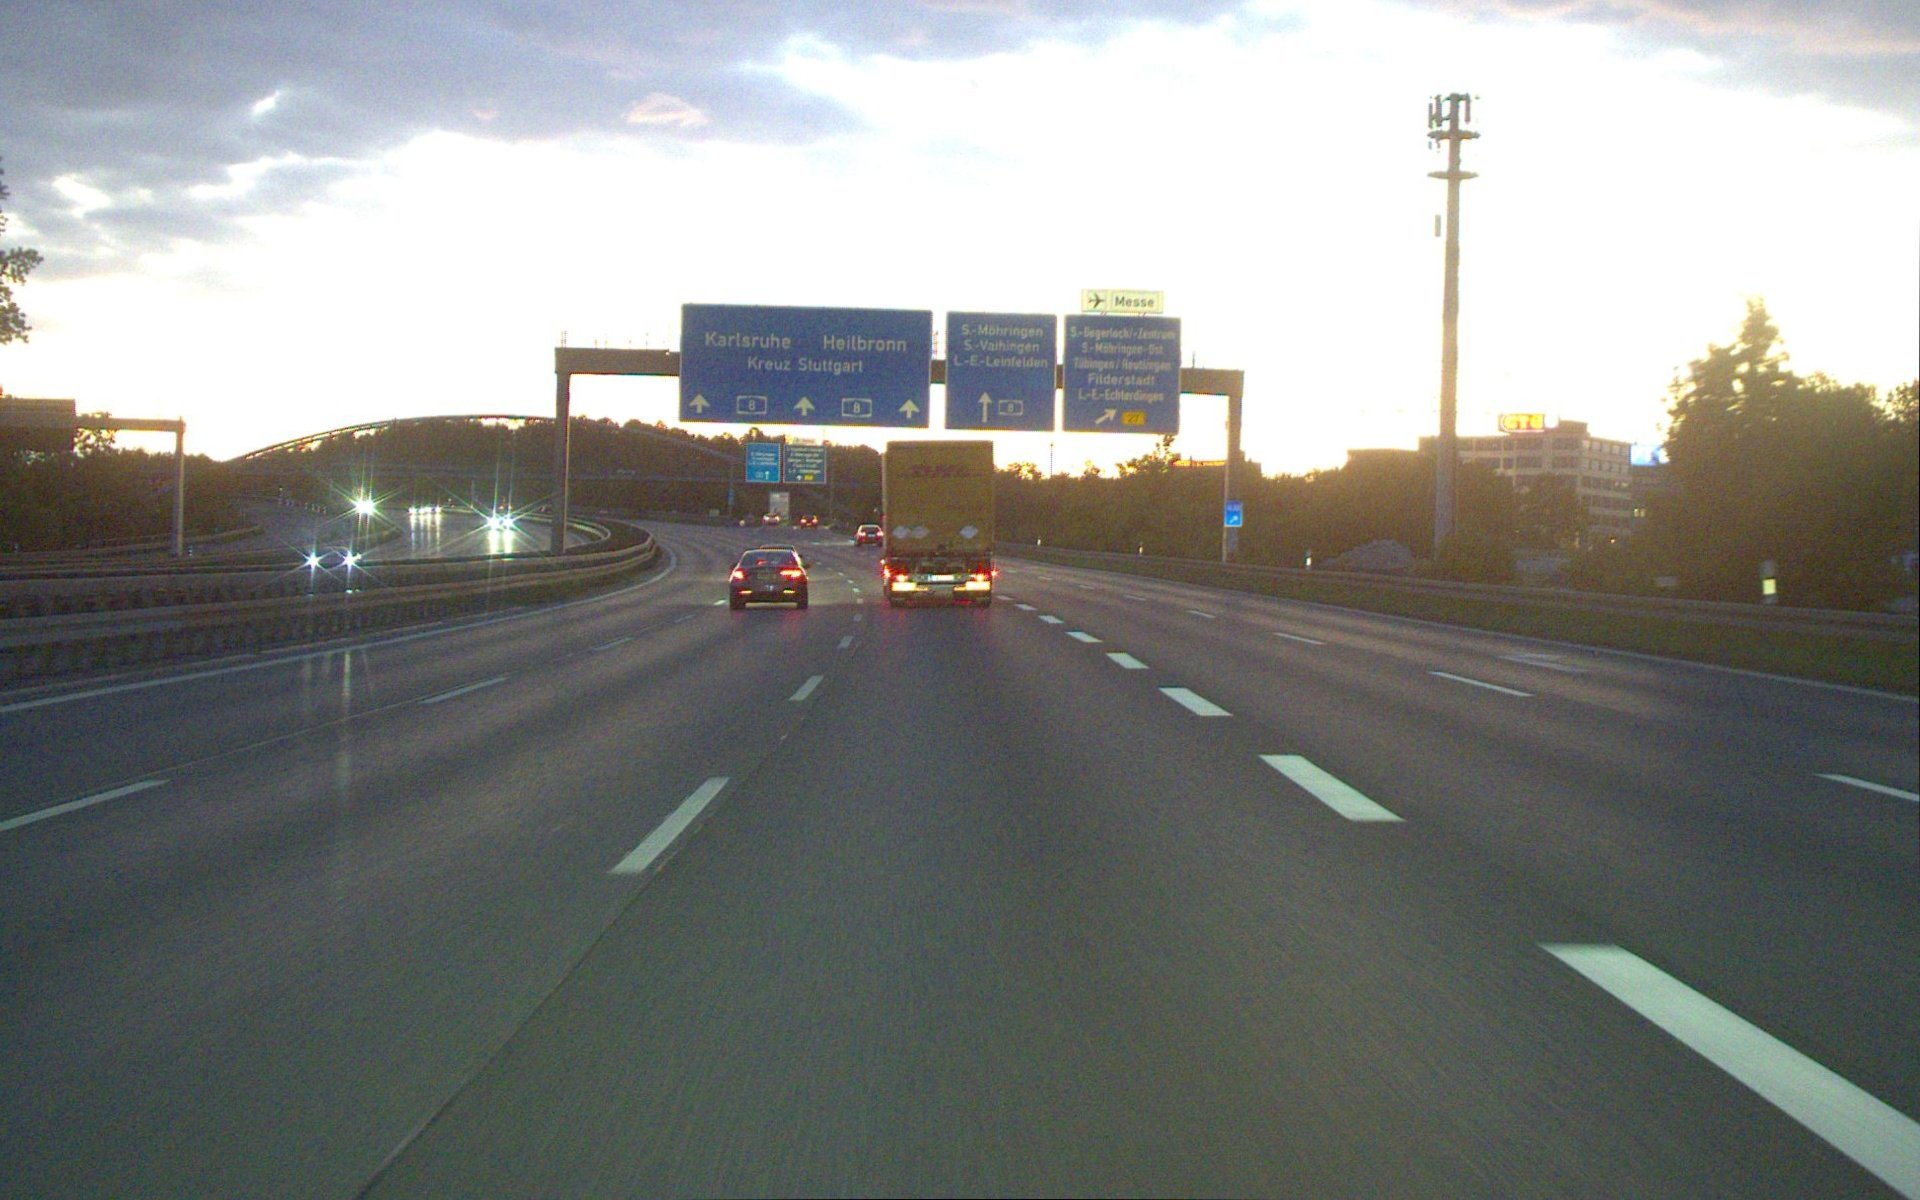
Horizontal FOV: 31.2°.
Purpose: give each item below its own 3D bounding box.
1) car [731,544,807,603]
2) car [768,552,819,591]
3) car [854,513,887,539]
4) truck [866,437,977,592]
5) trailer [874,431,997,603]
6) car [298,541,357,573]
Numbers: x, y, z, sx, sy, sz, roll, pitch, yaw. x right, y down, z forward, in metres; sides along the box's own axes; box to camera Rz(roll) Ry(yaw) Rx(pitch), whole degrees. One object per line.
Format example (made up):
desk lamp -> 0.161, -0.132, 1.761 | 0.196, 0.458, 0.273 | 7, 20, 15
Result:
car -> -4.651, -0.647, 83.381 | 1.689, 1.396, 3.409 | 0, 0, -6
car -> -6.143, -1.041, 127.401 | 1.689, 1.396, 3.408 | -1, 0, 0
car -> -6.303, -5.226, 241.902 | 1.993, 1.711, 4.001 | 1, 0, -7
truck -> -1.145, -2.398, 95.129 | 2.690, 4.057, 10.522 | 0, 2, -3
trailer -> -0.681, -2.090, 85.472 | 2.721, 4.057, 8.832 | 0, 2, -3
car -> -28.096, -1.925, 152.843 | 1.993, 1.399, 4.330 | 1, 1, -3
